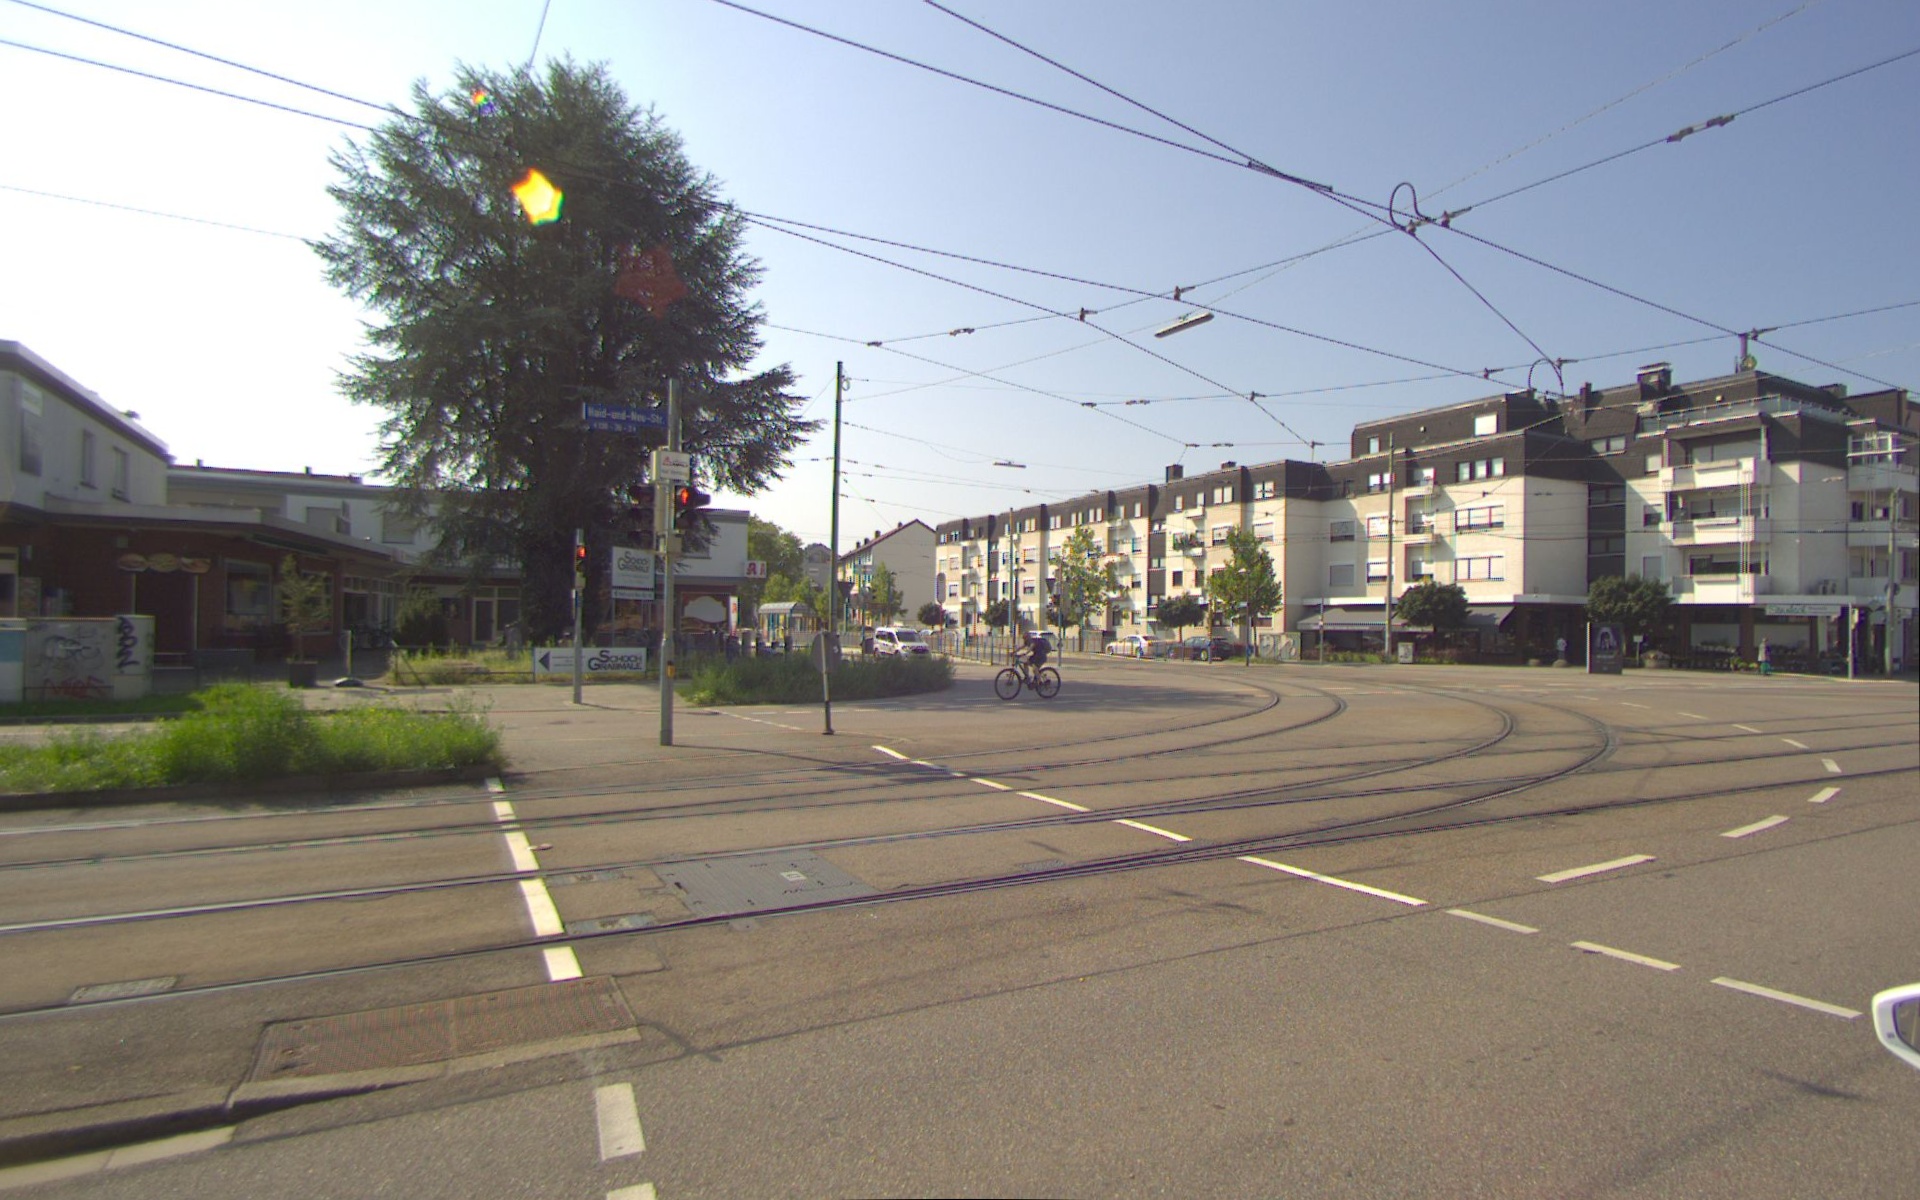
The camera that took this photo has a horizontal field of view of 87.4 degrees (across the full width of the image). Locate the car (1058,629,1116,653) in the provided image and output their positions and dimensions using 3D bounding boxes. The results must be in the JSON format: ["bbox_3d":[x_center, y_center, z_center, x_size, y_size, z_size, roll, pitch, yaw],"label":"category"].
[{"bbox_3d":[8.856,2.897,70.232,1.847,1.554,4.352,2,-4,-29],"label":"car"}]

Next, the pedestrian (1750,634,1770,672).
[{"bbox_3d":[37.435,2.489,46.984,0.589,1.768,0.565,-1,-3,28],"label":"pedestrian"}]

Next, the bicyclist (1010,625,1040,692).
[{"bbox_3d":[1.523,1.384,23.698,0.483,1.542,0.566,2,-3,-27],"label":"bicyclist"}]

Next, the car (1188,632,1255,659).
[{"bbox_3d":[16.834,2.907,64.918,1.907,1.527,4.091,2,-1,-29],"label":"car"}]

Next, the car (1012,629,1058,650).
[{"bbox_3d":[5.685,3.047,76.717,1.653,1.500,3.889,2,-4,-29],"label":"car"}]

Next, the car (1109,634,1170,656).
[{"bbox_3d":[11.568,2.930,64.956,1.653,1.316,4.093,2,-4,-29],"label":"car"}]

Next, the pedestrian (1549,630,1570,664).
[{"bbox_3d":[32.035,2.507,53.635,0.689,1.763,0.677,2,-3,-27],"label":"pedestrian"}]

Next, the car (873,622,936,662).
[{"bbox_3d":[-2.933,2.153,52.109,1.799,1.911,4.000,1,-1,-26],"label":"car"}]

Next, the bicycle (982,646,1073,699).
[{"bbox_3d":[1.603,1.695,23.747,2.179,1.195,0.573,1,-3,-27],"label":"bicycle"}]
